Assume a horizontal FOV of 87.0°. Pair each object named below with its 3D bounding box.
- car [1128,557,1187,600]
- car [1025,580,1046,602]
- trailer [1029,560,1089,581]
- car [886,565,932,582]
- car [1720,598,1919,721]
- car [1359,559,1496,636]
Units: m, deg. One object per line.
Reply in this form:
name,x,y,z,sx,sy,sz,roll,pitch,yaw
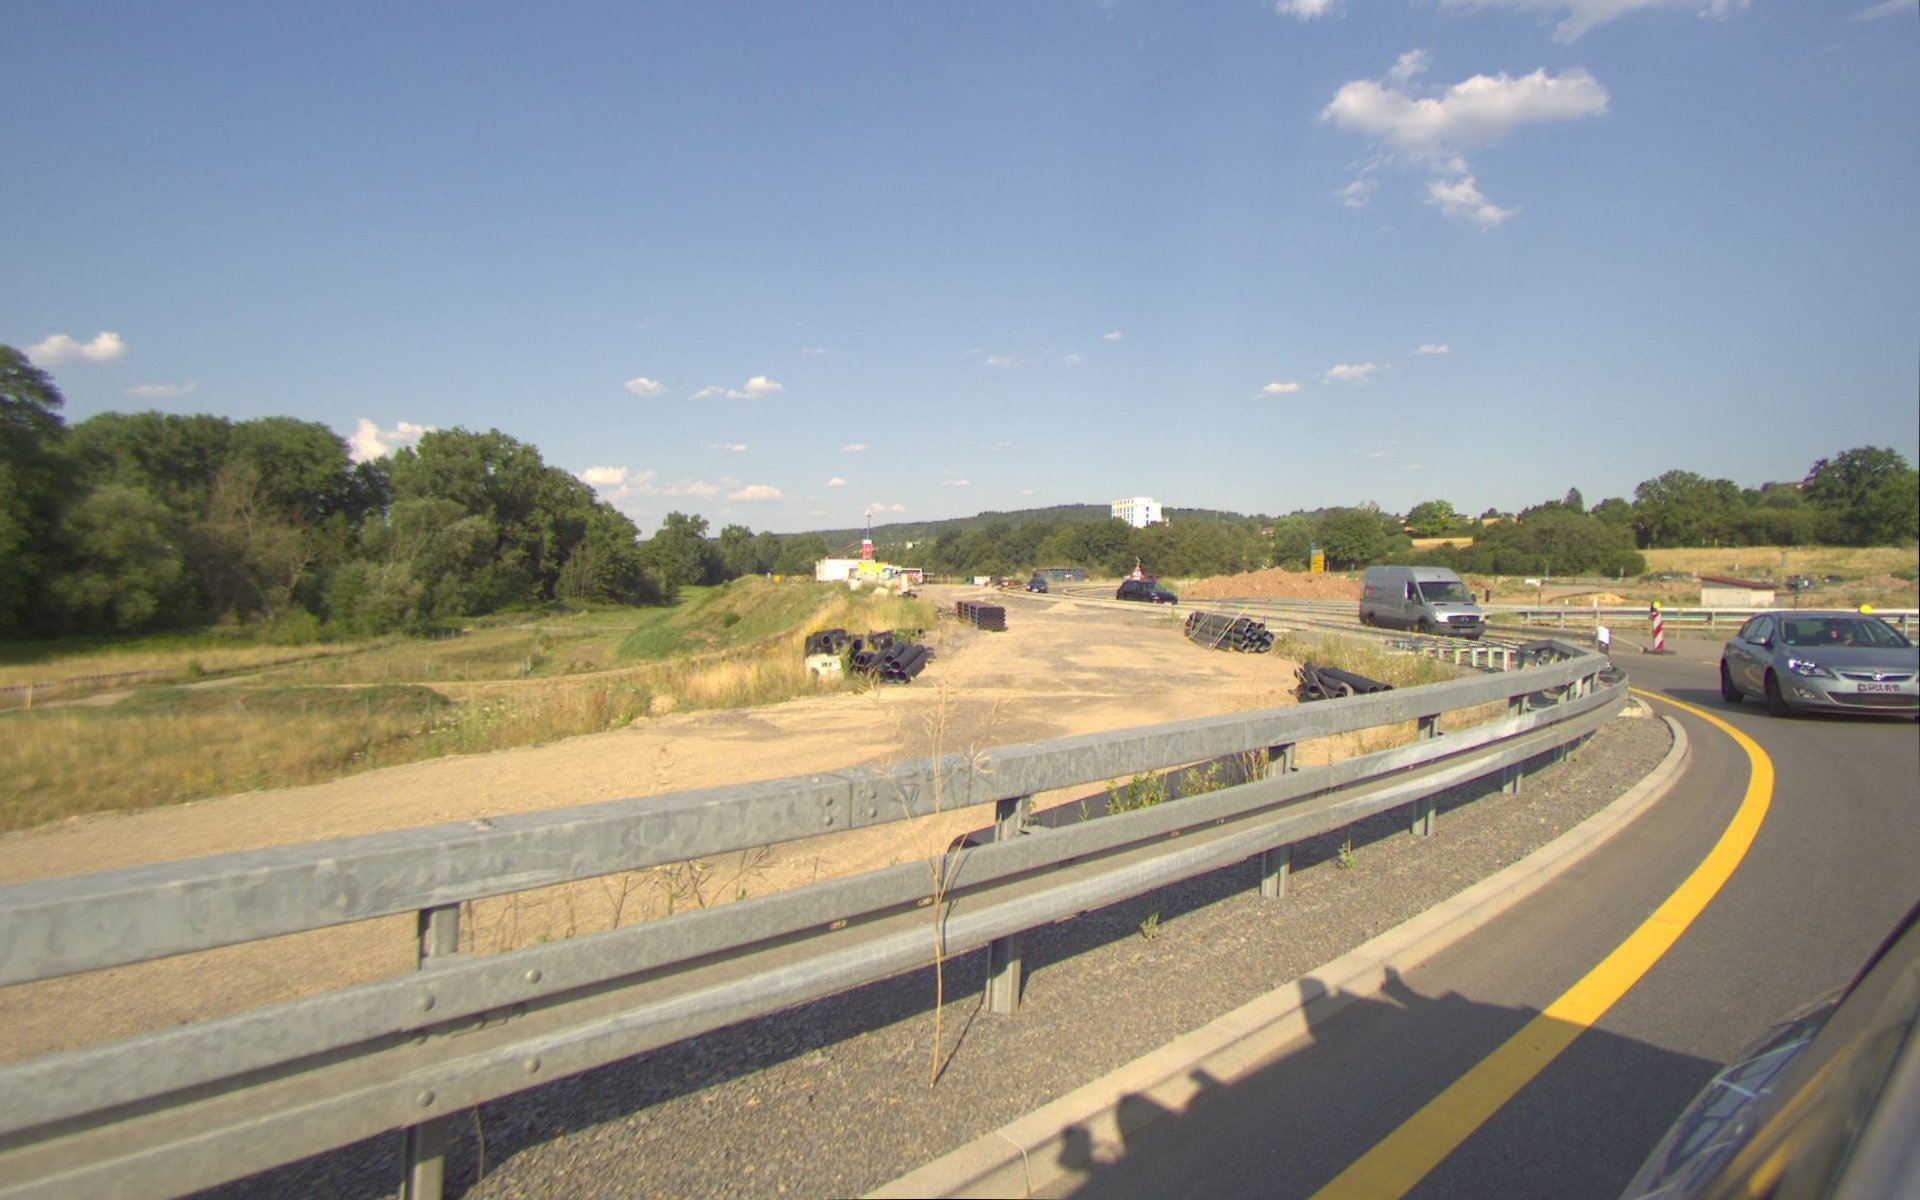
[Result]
car,11.605,-1.334,59.715,1.837,2.432,4.010,0,3,-14
car,6.729,-0.826,89.829,1.610,1.808,4.119,1,3,8
trailer,11.863,-3.558,120.750,7.101,2.444,3.010,-2,2,-40
car,-6.292,-3.272,125.254,5.208,2.104,2.493,-1,3,-18
car,12.421,0.762,14.461,1.731,1.503,4.211,-1,-1,27
car,16.769,-0.212,36.732,1.879,2.531,5.806,0,3,-5
